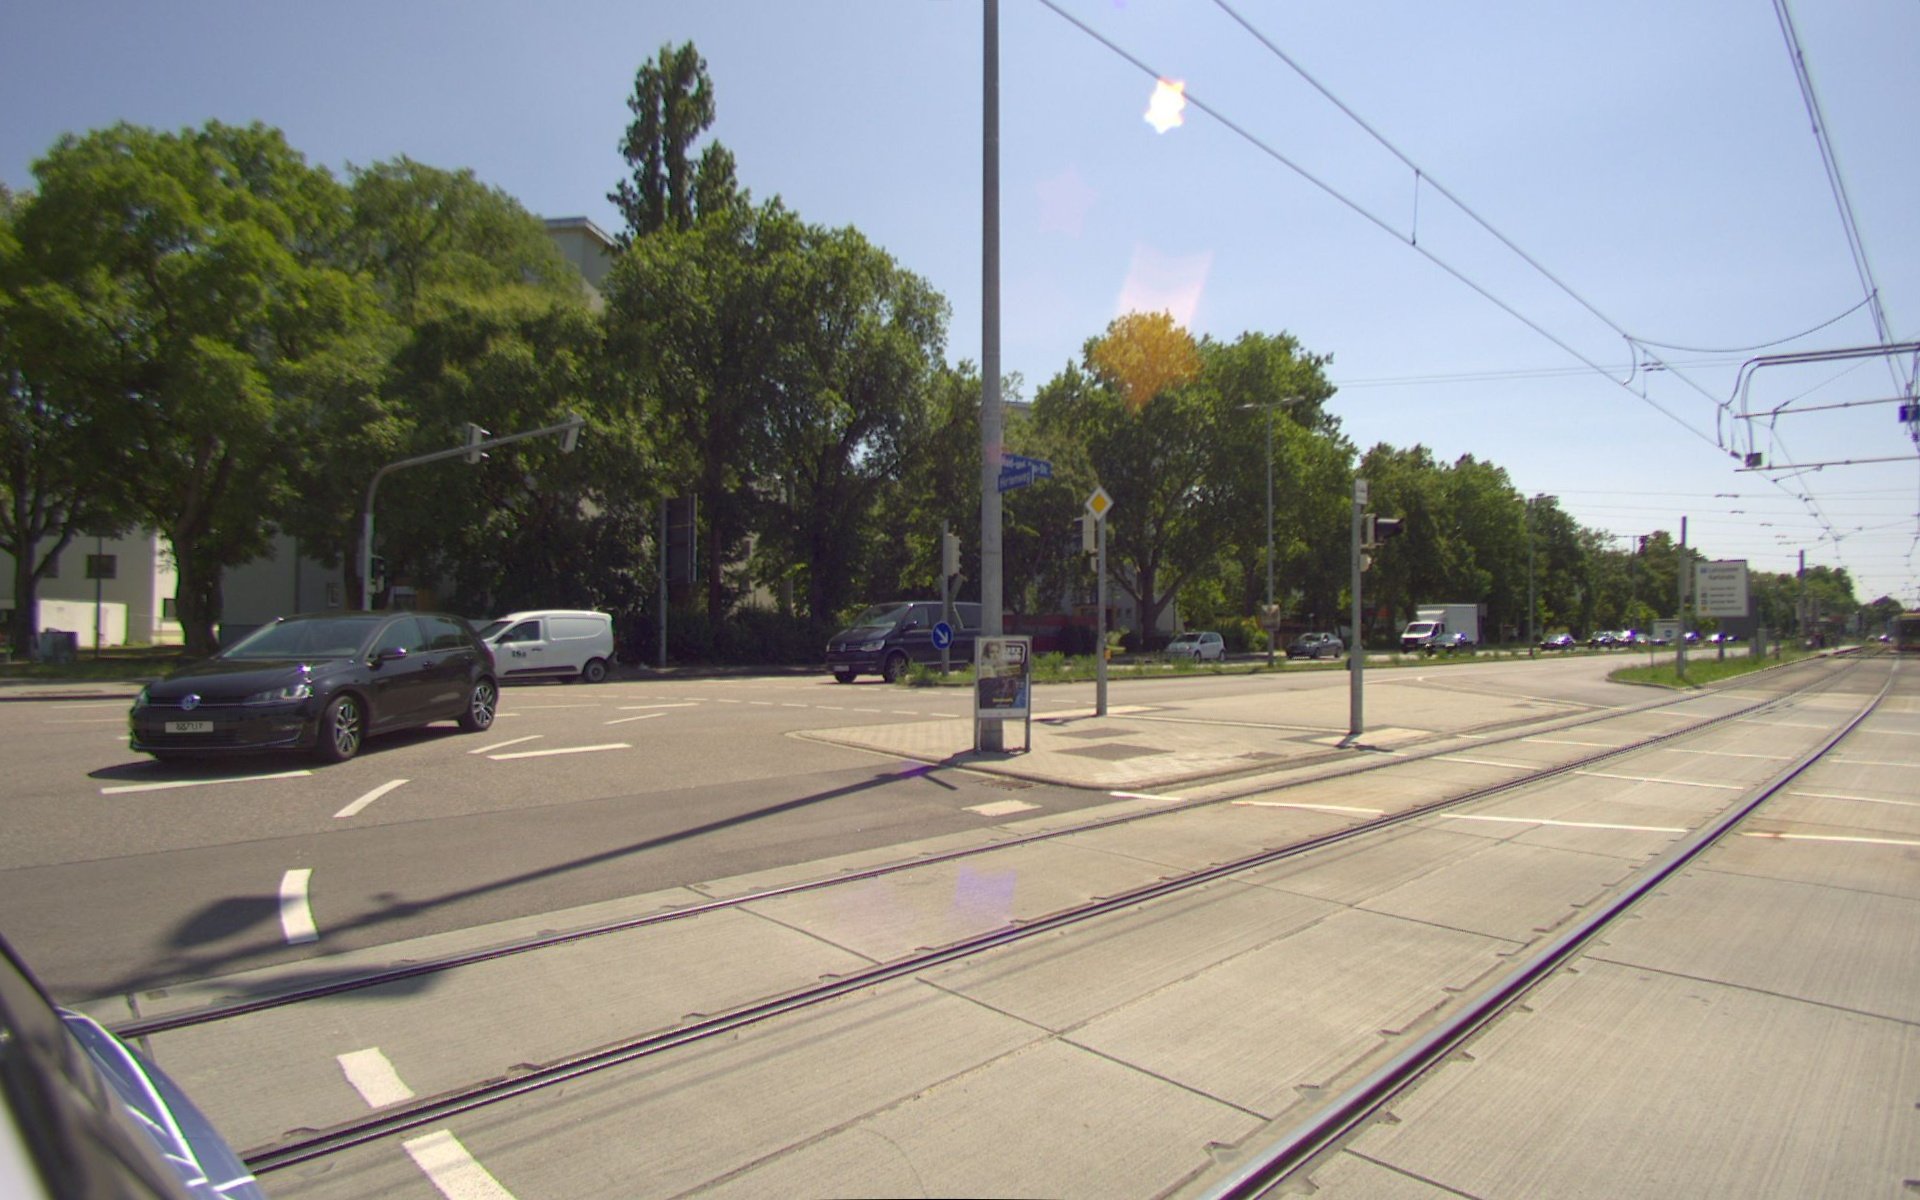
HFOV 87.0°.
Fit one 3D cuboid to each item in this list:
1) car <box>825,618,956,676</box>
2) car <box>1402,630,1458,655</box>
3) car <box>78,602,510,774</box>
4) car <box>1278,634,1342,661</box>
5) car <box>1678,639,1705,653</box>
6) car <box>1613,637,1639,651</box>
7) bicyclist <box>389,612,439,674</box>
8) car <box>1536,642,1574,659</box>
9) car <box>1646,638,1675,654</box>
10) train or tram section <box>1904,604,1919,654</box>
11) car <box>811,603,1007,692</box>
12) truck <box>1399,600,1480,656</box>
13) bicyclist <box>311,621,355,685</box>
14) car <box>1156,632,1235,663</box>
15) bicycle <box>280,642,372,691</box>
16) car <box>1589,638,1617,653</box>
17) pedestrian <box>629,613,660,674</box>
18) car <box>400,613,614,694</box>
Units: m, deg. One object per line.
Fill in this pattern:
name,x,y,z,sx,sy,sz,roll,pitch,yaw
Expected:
car,-2.307,1.590,34.356,1.896,1.807,4.331,-5,-4,42
car,26.287,2.375,56.593,1.746,1.296,3.945,-5,-4,41
car,-6.518,0.813,10.548,1.687,1.415,4.049,-1,-2,3
car,19.737,2.655,57.009,1.849,1.436,4.154,-3,-3,44
car,95.657,6.006,132.364,3.939,1.745,2.002,1,-5,-43
car,65.458,4.341,99.509,1.604,1.296,3.595,-5,-4,41
bicyclist,-14.189,1.114,26.311,0.896,1.556,0.648,2,-1,-2
car,48.838,4.145,83.014,1.886,1.296,3.945,-5,-4,41
car,80.807,5.309,116.710,2.001,1.745,3.942,-5,-5,44
train or tram section,82.558,2.328,83.957,3.013,4.287,12.623,-2,-3,29
car,-1.131,1.106,24.489,1.943,1.946,4.778,-1,-2,42
truck,32.777,1.958,68.996,2.589,3.560,7.601,-5,-4,43
bicyclist,-15.064,1.259,24.320,0.620,1.479,0.616,2,-1,-2
car,11.378,2.263,48.734,1.849,1.436,4.154,-3,-3,43
bicycle,-15.223,1.581,24.310,1.780,1.071,0.616,2,-1,-1
car,59.077,4.206,92.944,1.604,1.296,3.595,-5,-4,41
pedestrian,-9.788,1.347,31.413,0.607,1.849,0.669,-1,-2,42
car,-10.627,1.228,23.980,1.811,1.731,4.282,-3,-3,42
